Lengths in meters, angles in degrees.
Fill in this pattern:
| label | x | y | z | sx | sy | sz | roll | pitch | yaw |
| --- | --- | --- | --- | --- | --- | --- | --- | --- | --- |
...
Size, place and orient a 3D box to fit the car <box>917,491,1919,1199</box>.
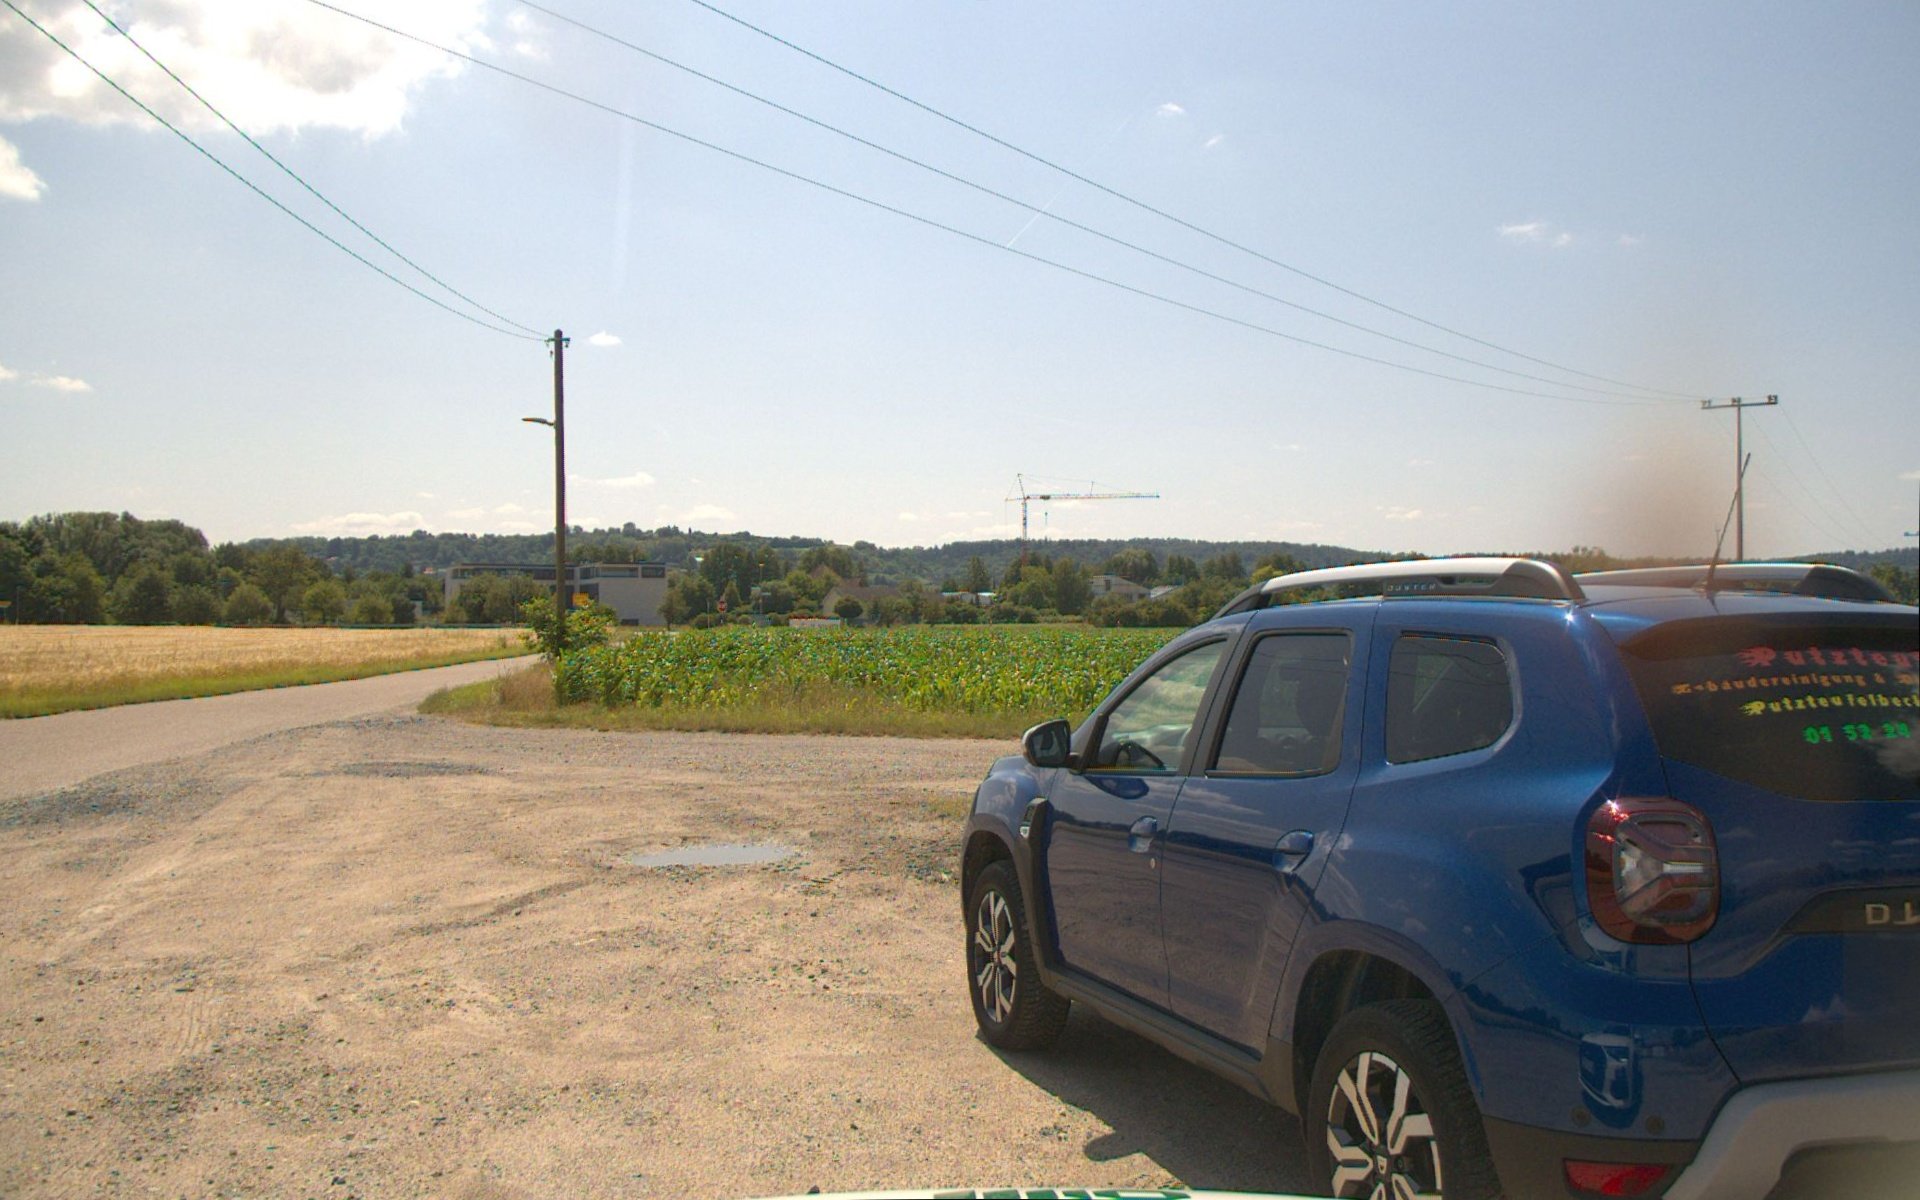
| label | x | y | z | sx | sy | sz | roll | pitch | yaw |
| --- | --- | --- | --- | --- | --- | --- | --- | --- | --- |
| car | 1.372 | 0.731 | 5.173 | 1.830 | 1.690 | 4.435 | 1 | -2 | -18 |
